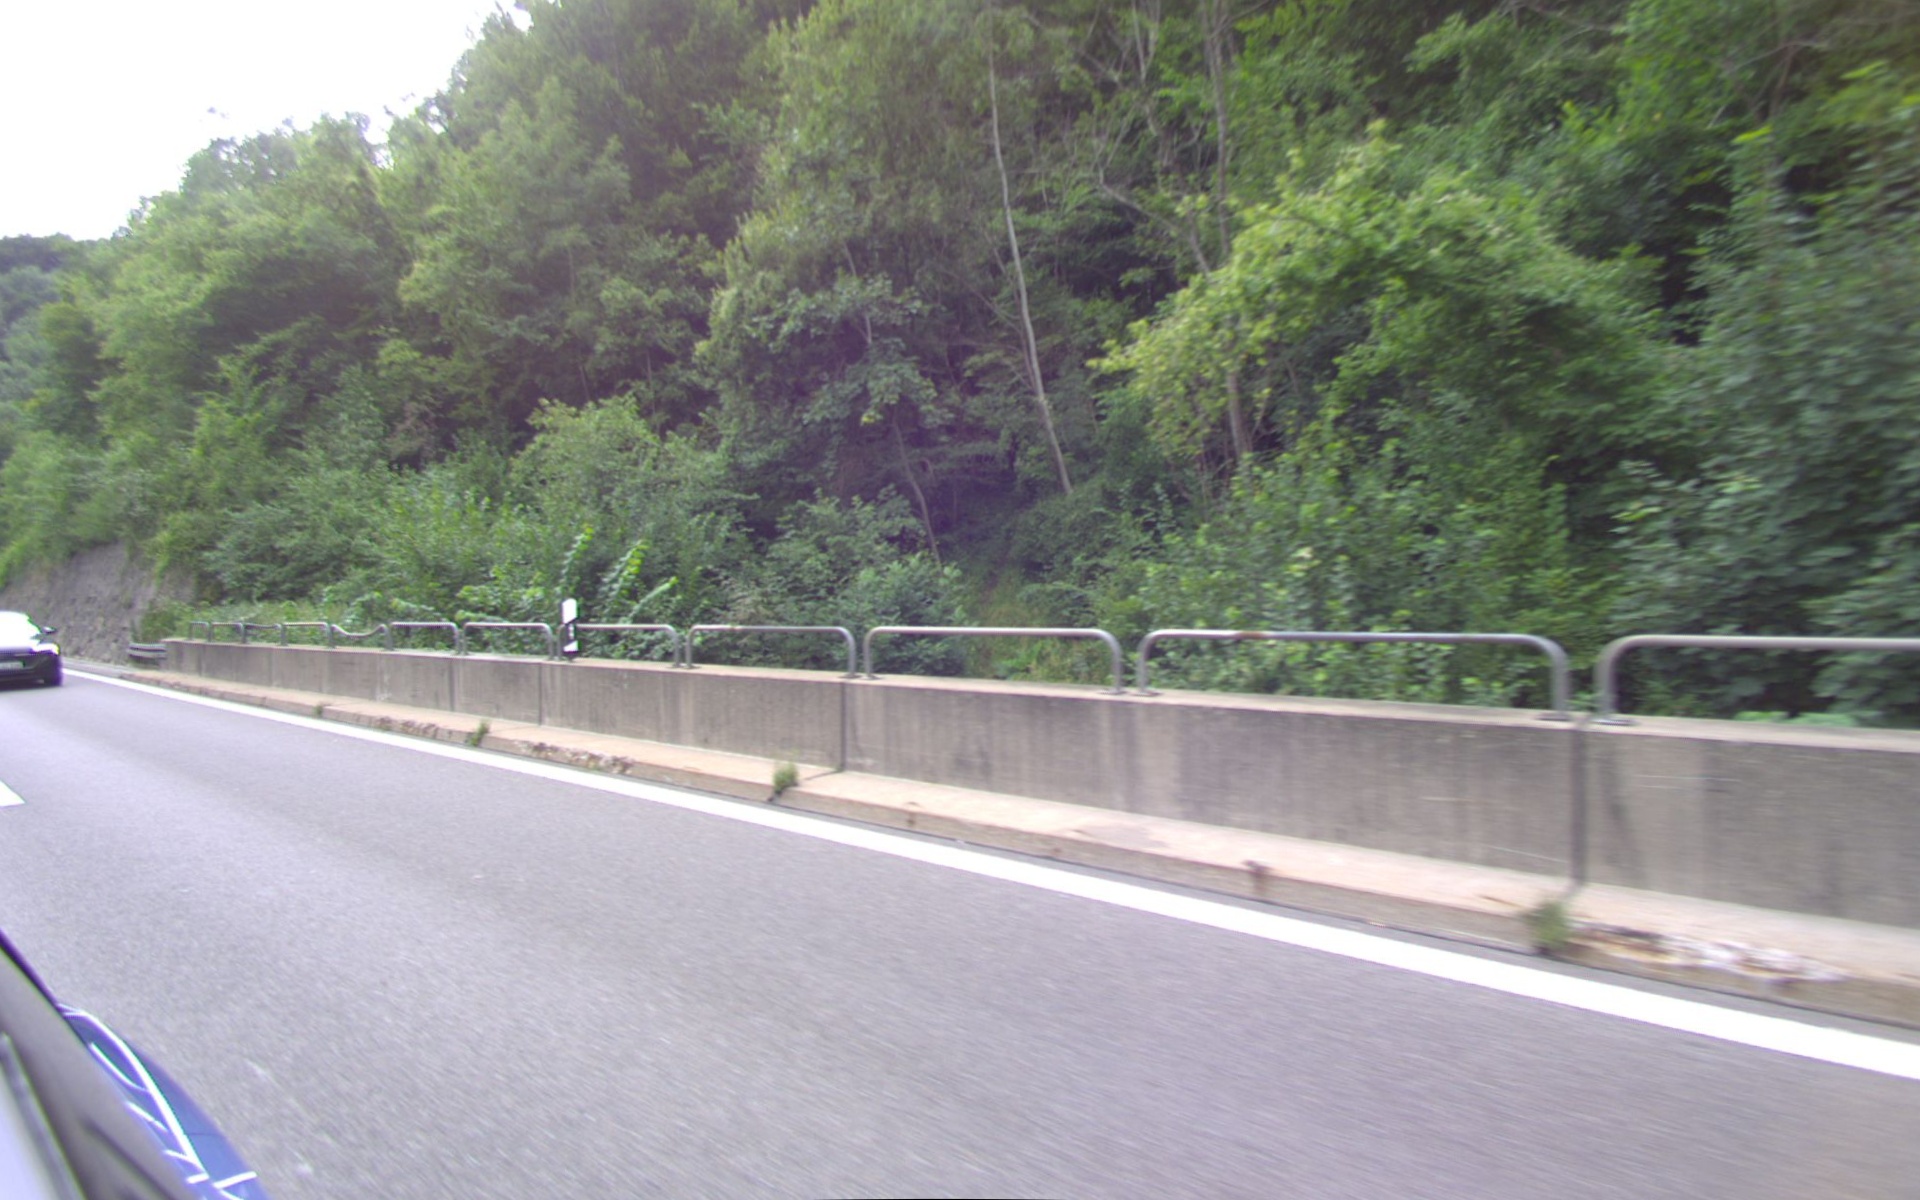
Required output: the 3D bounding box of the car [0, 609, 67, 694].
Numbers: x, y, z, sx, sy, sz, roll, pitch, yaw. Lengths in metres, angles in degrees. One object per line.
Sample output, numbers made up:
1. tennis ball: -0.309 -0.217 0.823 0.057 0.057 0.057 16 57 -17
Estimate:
1. car: -21.072 1.105 21.852 5.005 1.644 1.973 -1 2 41
